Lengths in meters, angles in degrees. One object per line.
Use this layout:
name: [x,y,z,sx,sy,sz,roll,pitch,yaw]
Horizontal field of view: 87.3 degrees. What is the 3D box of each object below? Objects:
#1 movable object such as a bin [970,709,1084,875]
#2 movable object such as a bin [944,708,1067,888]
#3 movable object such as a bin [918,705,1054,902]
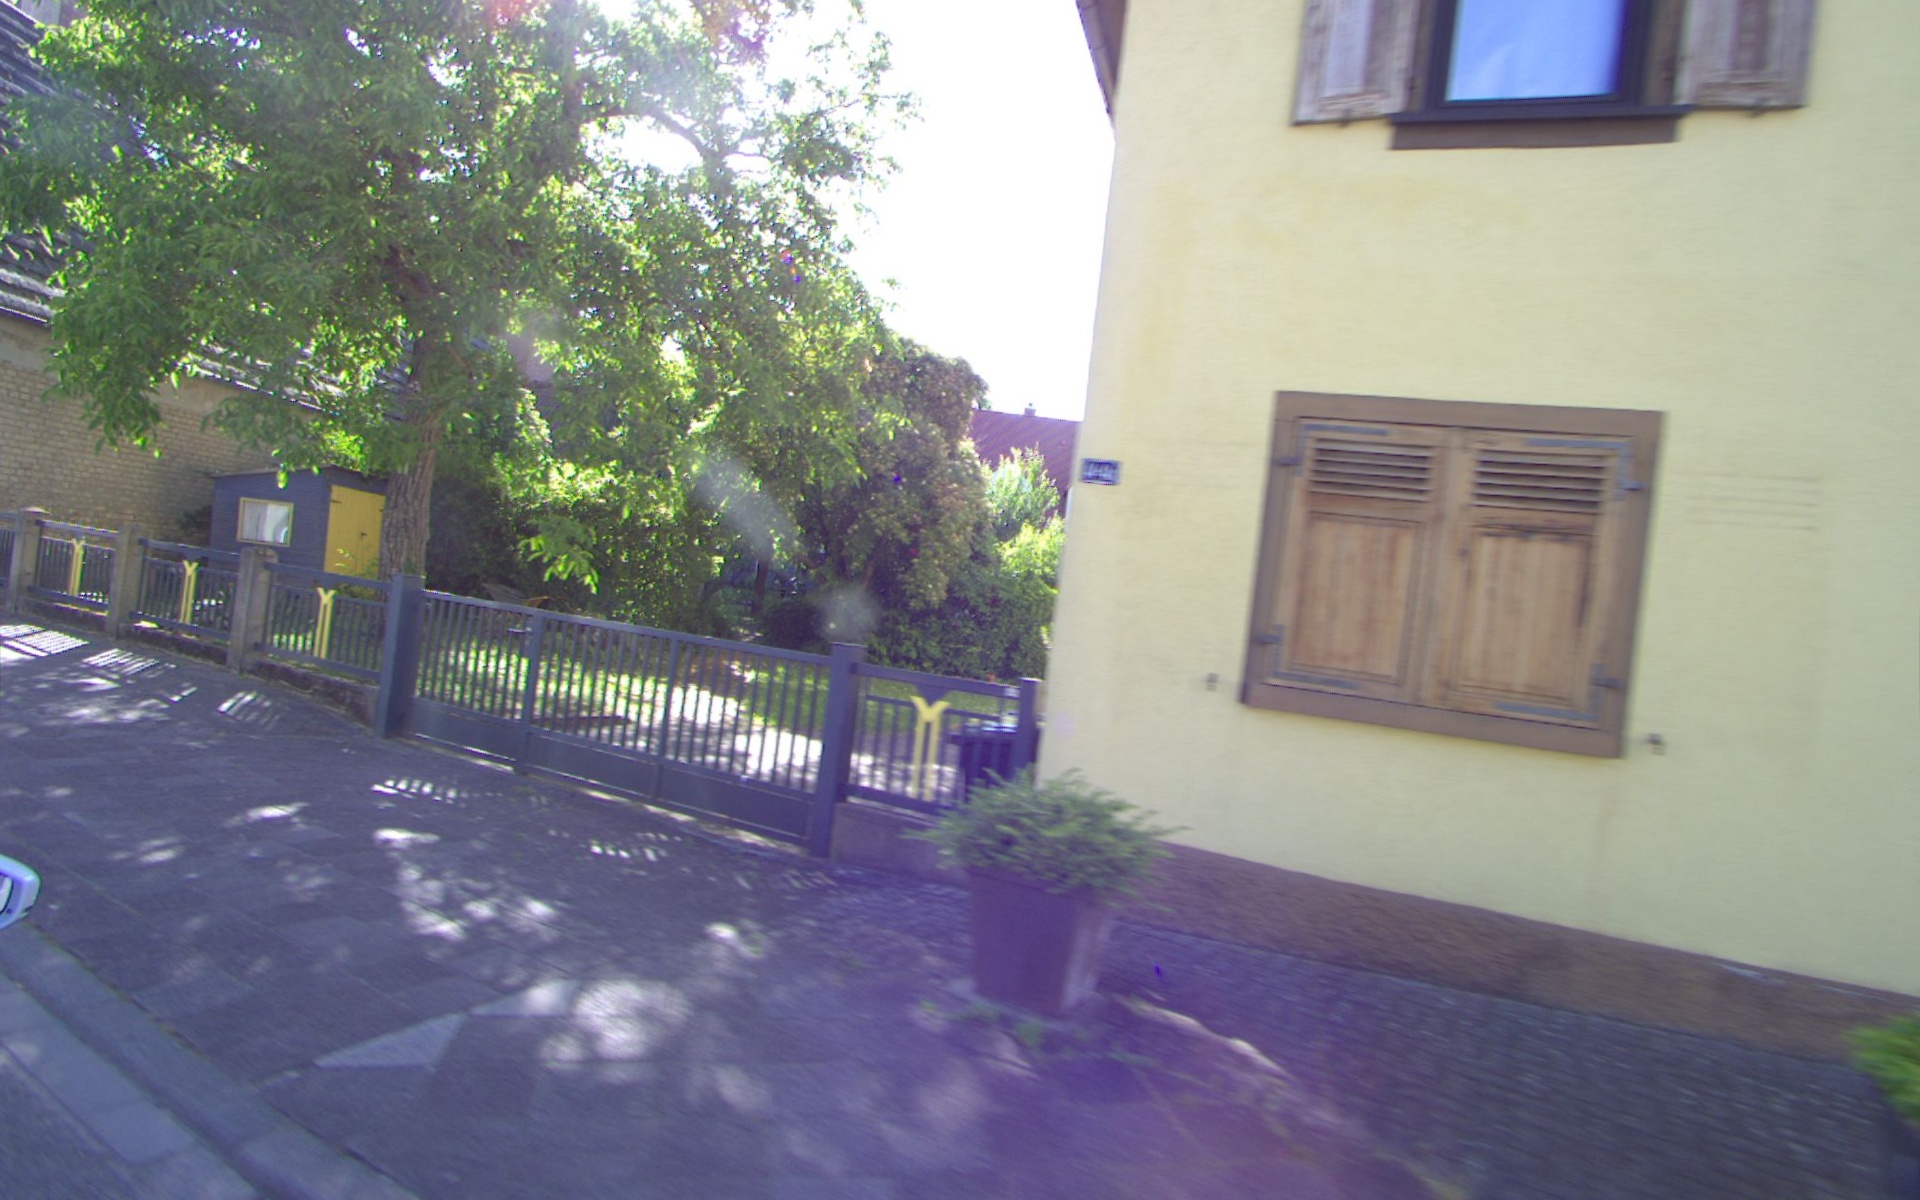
movable object such as a bin: [0.465,1.275,6.841,0.535,0.952,0.593,8,2,19]
movable object such as a bin: [0.295,1.208,6.280,0.535,0.952,0.527,8,2,19]
movable object such as a bin: [0.160,1.130,5.735,0.535,0.952,0.527,8,2,19]
